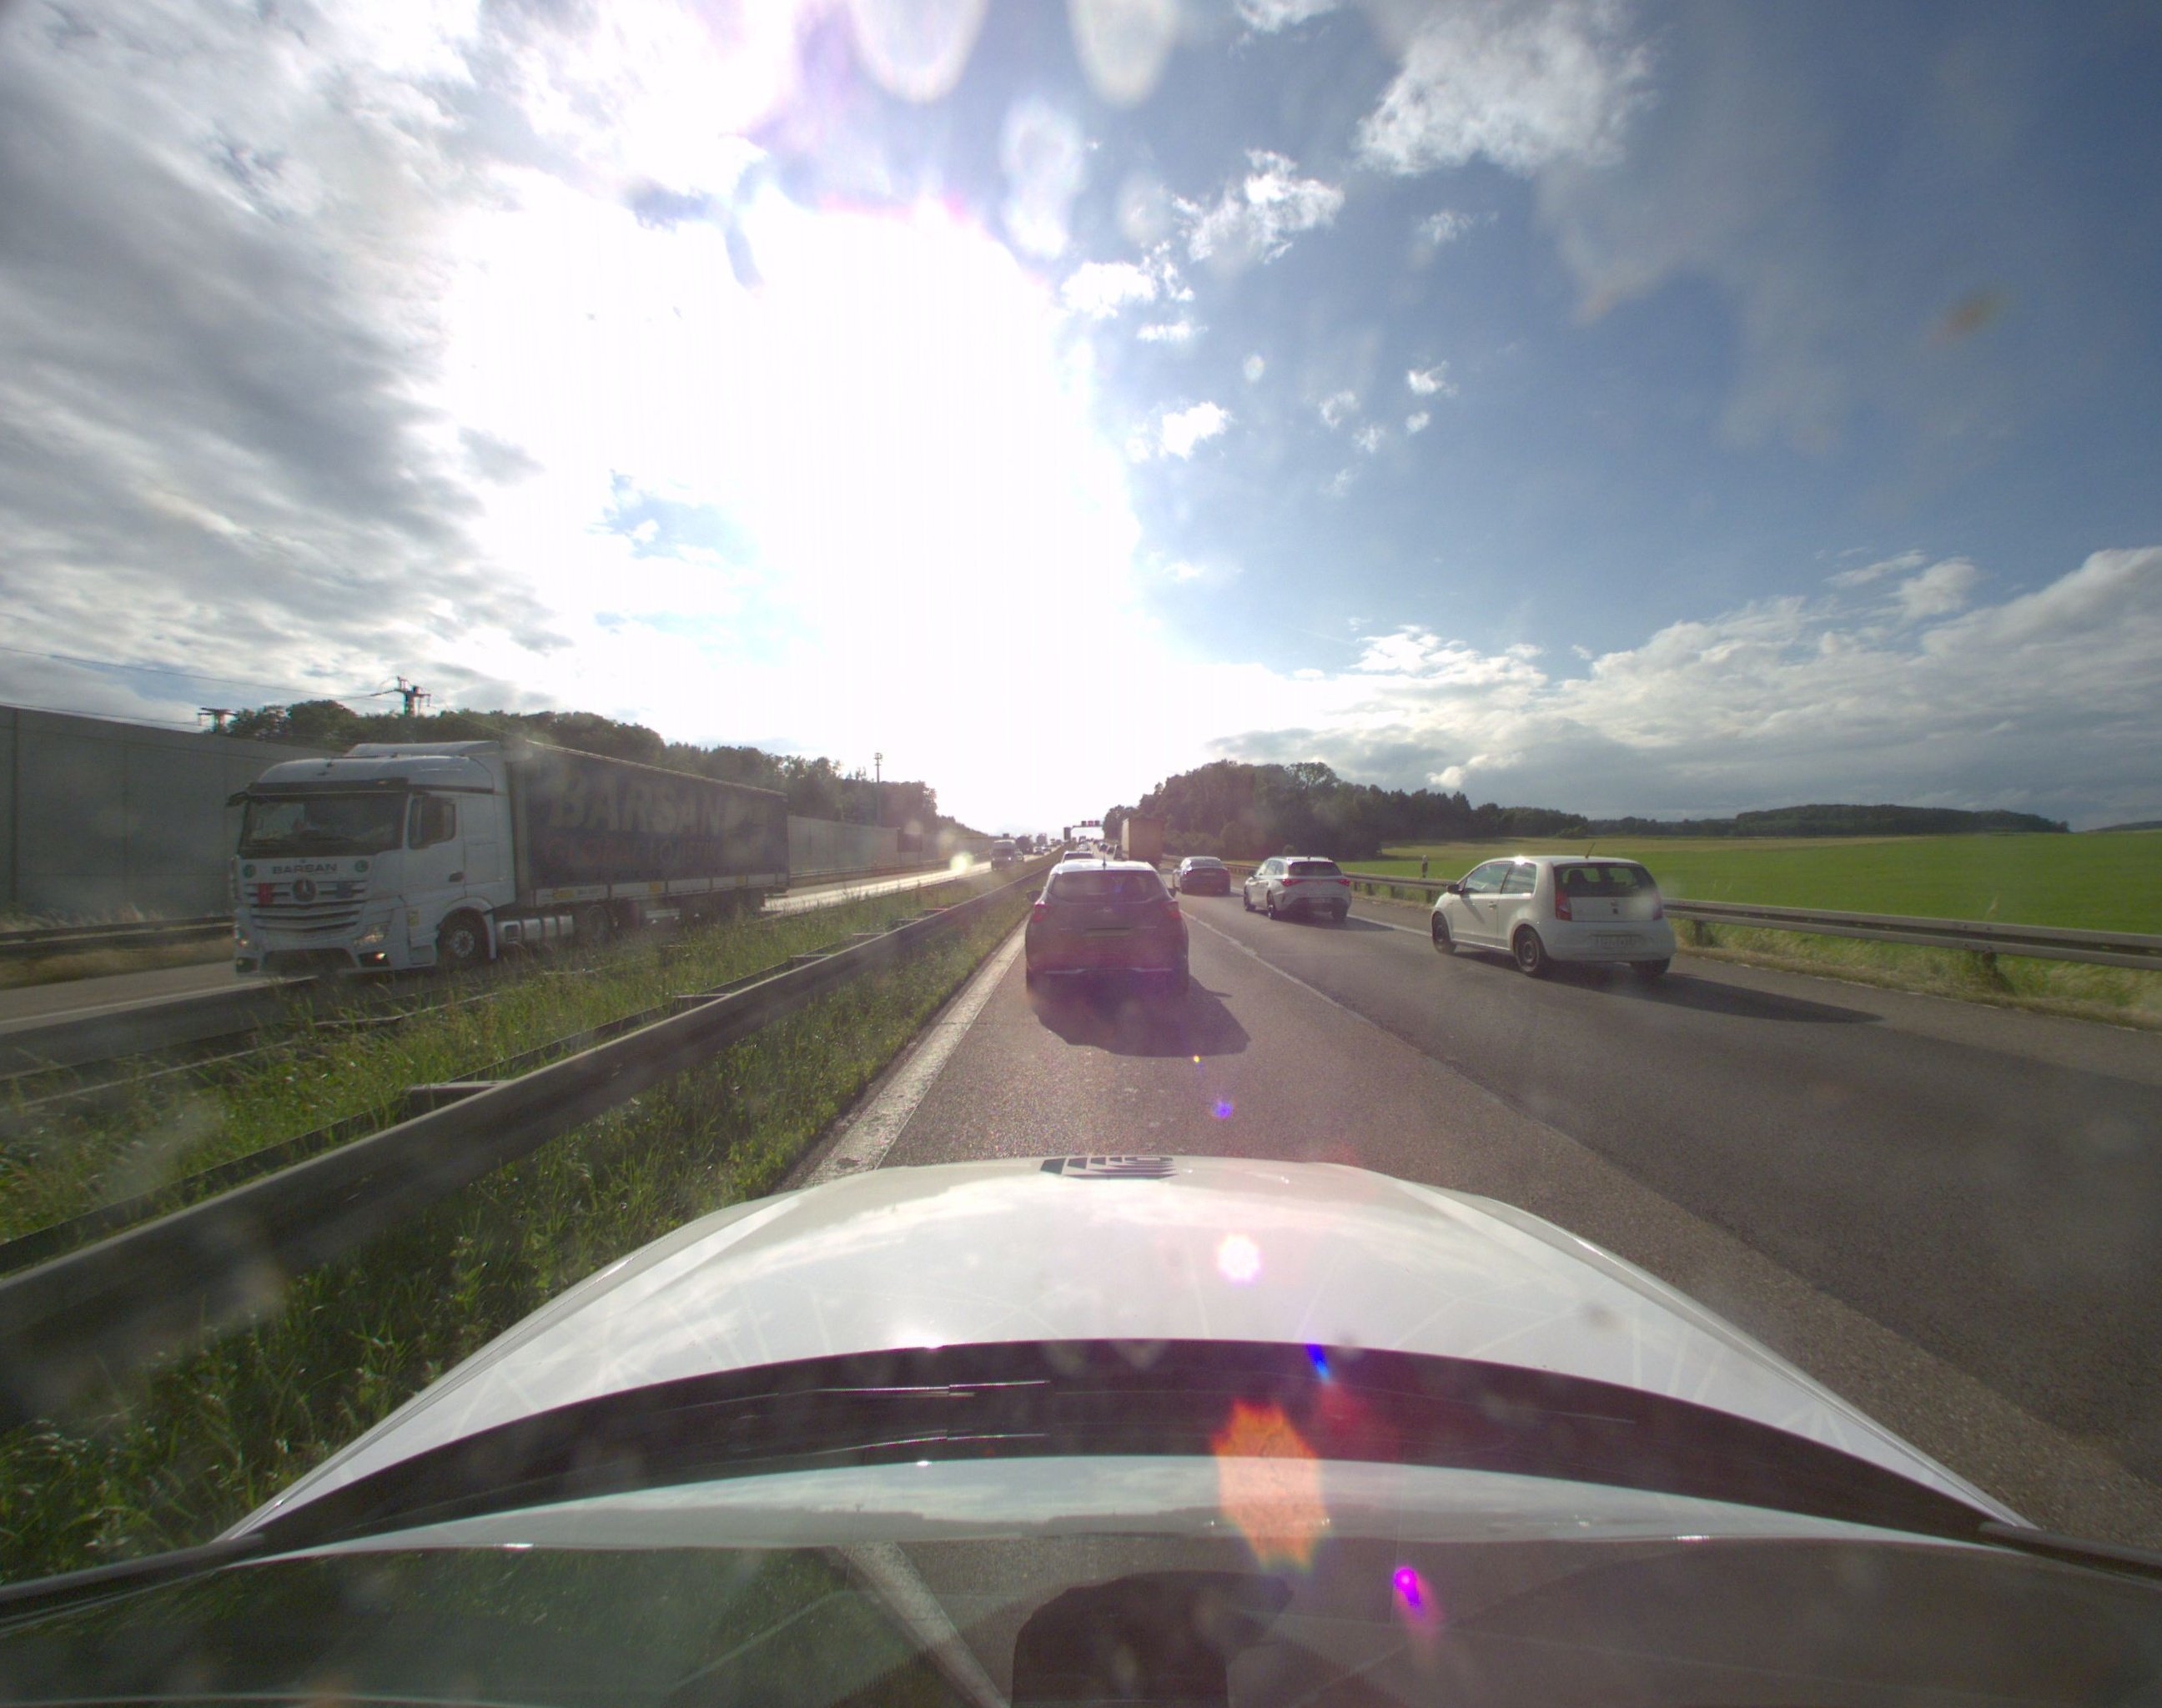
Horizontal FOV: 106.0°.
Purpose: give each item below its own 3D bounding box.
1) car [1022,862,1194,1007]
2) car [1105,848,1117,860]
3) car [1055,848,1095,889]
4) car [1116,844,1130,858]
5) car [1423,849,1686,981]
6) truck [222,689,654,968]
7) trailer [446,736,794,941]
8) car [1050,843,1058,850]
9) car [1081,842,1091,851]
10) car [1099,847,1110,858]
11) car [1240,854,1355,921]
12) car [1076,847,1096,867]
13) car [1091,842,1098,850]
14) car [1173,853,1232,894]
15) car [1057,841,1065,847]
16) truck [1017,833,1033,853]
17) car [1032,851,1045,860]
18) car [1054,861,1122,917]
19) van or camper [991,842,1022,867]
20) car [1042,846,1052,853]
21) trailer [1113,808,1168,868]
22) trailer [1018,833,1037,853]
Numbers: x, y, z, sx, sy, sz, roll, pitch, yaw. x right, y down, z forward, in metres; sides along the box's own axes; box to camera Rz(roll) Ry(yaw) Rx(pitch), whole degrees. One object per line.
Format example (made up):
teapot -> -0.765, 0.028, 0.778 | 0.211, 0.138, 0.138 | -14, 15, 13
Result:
car -> 0.325, 0.822, 9.816 | 1.703, 1.426, 3.379 | -1, -1, 2
car -> 5.277, -0.006, 144.016 | 1.987, 2.014, 3.998 | 0, -1, -1
car -> -0.222, 0.629, 36.428 | 1.668, 1.726, 3.597 | -1, -1, 1
car -> 5.414, -0.418, 105.574 | 1.661, 1.755, 3.328 | 0, -1, 2
car -> 6.107, 0.681, 10.965 | 1.544, 1.495, 3.376 | 0, 0, -1
truck -> -11.283, -0.357, 15.481 | 2.629, 4.098, 7.000 | 0, -1, 0
trailer -> -11.386, -0.259, 22.452 | 2.646, 4.081, 12.392 | 0, -1, -1
car -> -7.380, -1.907, 222.365 | 1.853, 1.834, 4.281 | 0, -1, 1
car -> 1.076, -1.612, 175.119 | 1.987, 2.014, 3.998 | 0, -1, -1
car -> 4.740, -0.319, 162.292 | 1.987, 2.014, 3.998 | 0, -1, -1
car -> 5.106, 0.745, 19.738 | 1.616, 1.445, 4.144 | -1, -1, -1
car -> 0.458, 0.306, 83.412 | 1.987, 2.014, 3.998 | 0, -1, -1
car -> 3.789, -2.271, 233.748 | 1.987, 2.014, 3.998 | 0, -1, -1
car -> 4.607, 0.715, 31.442 | 1.741, 1.475, 4.147 | -1, -1, 1
car -> -6.190, -3.062, 253.010 | 1.987, 1.883, 4.787 | -3, -1, 0
truck -> -10.993, -2.104, 159.261 | 2.544, 3.798, 5.417 | -3, -1, 1
car -> -7.590, 0.276, 145.765 | 1.986, 1.486, 4.399 | 0, -1, 1
car -> 0.210, 0.879, 21.910 | 1.668, 1.367, 3.597 | -1, -1, 1
van or camper -> -6.999, 0.072, 76.846 | 2.158, 2.205, 6.260 | 0, -1, 2
car -> -7.200, -0.915, 171.863 | 1.797, 1.516, 4.691 | 0, -1, 1
trailer -> 4.655, -1.118, 67.068 | 3.538, 4.457, 12.718 | 0, -1, 0
trailer -> -10.809, -2.169, 165.413 | 2.531, 3.771, 12.542 | -3, -1, 1
